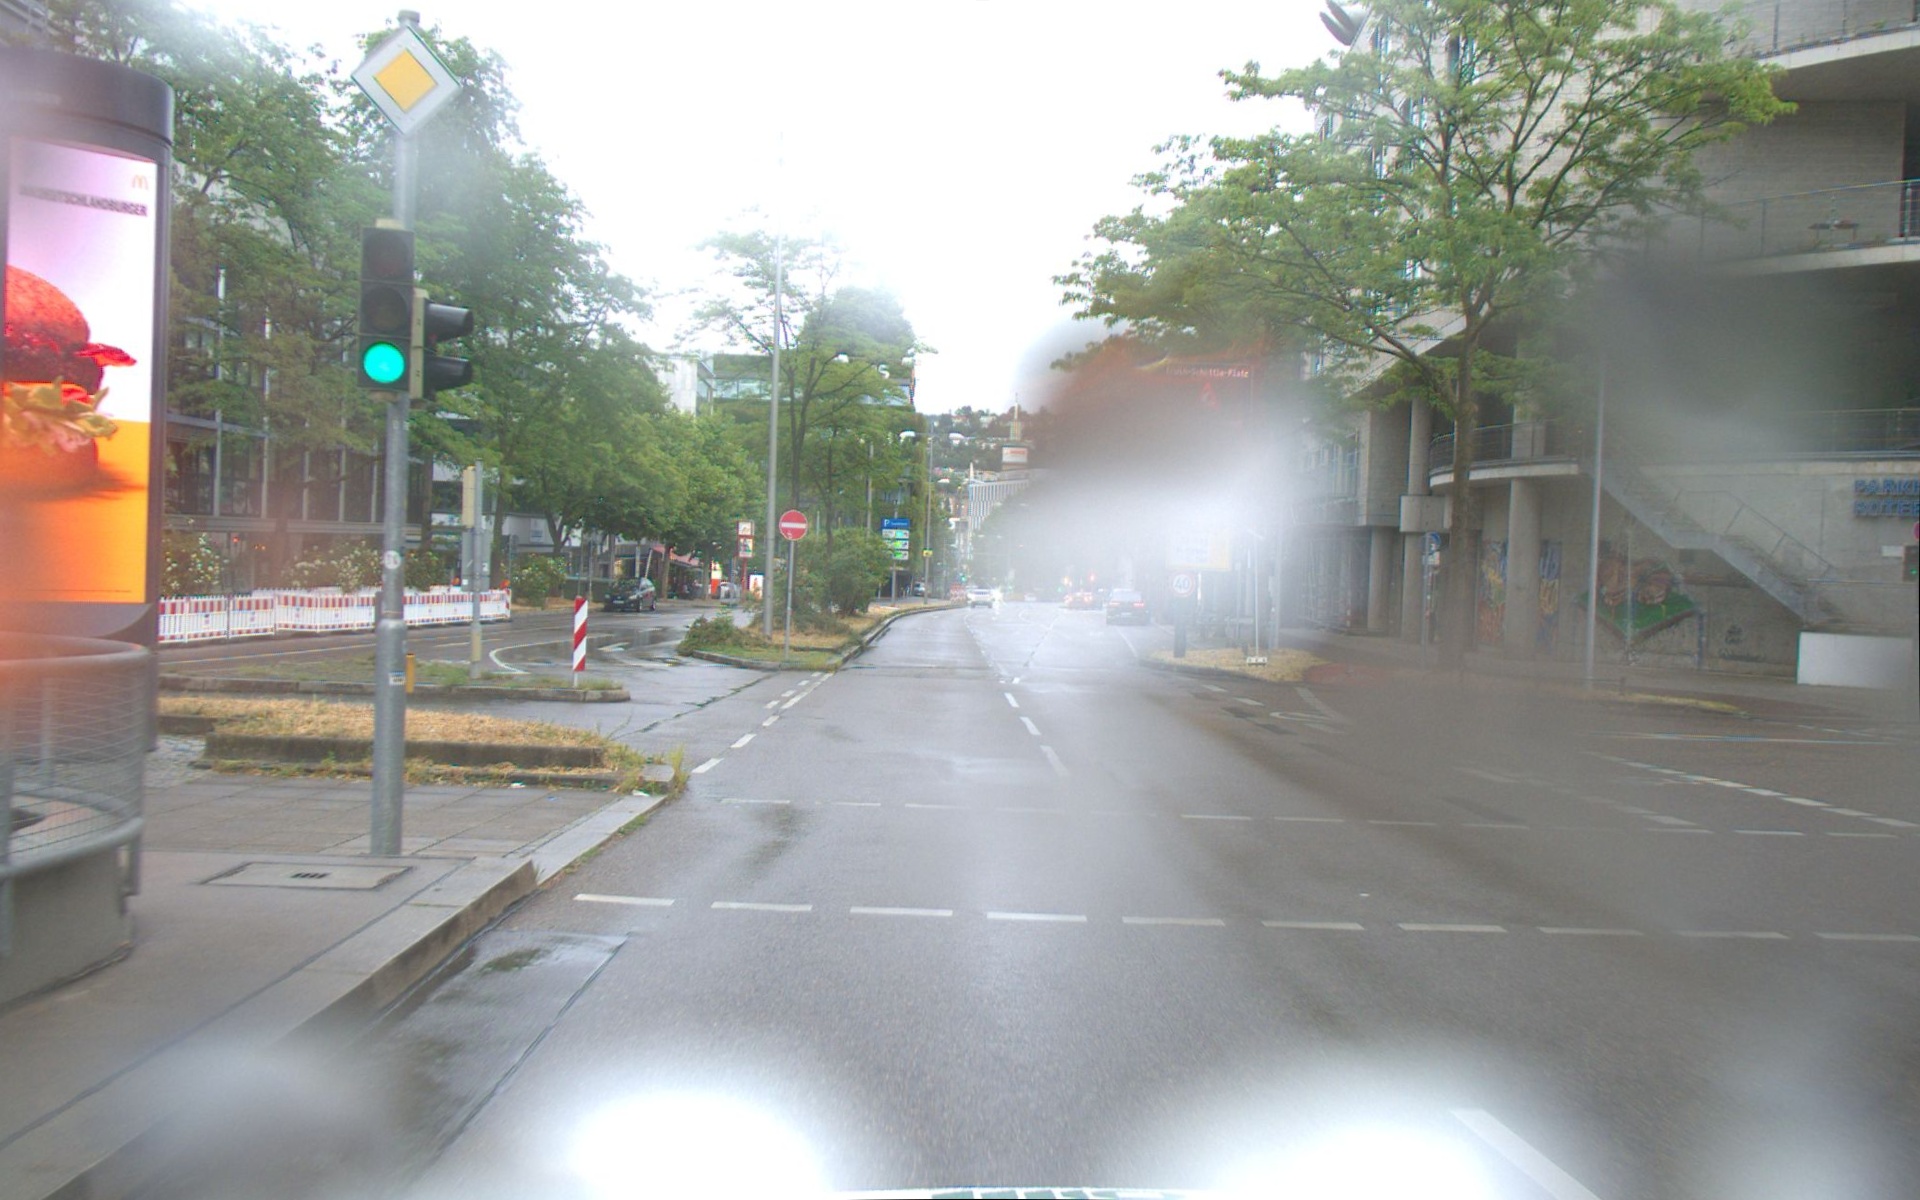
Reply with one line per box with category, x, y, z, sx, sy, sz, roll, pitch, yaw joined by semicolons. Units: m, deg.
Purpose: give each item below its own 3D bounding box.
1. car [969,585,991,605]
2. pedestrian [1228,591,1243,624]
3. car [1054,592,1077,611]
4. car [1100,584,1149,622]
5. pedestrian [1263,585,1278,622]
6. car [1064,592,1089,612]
car;1.812;-0.409;147.896;1.791;1.668;4.299;3;0;-1
pedestrian;16.748;0.466;100.692;0.759;1.954;0.702;1;-1;-2
car;10.392;0.124;162.572;1.953;1.766;3.999;1;-1;-1
car;7.889;0.150;79.153;2.288;1.721;4.003;1;0;6
pedestrian;16.674;0.195;88.747;0.759;1.954;0.703;1;-1;9
car;10.661;0.204;151.493;1.953;1.754;3.998;1;-1;-1
